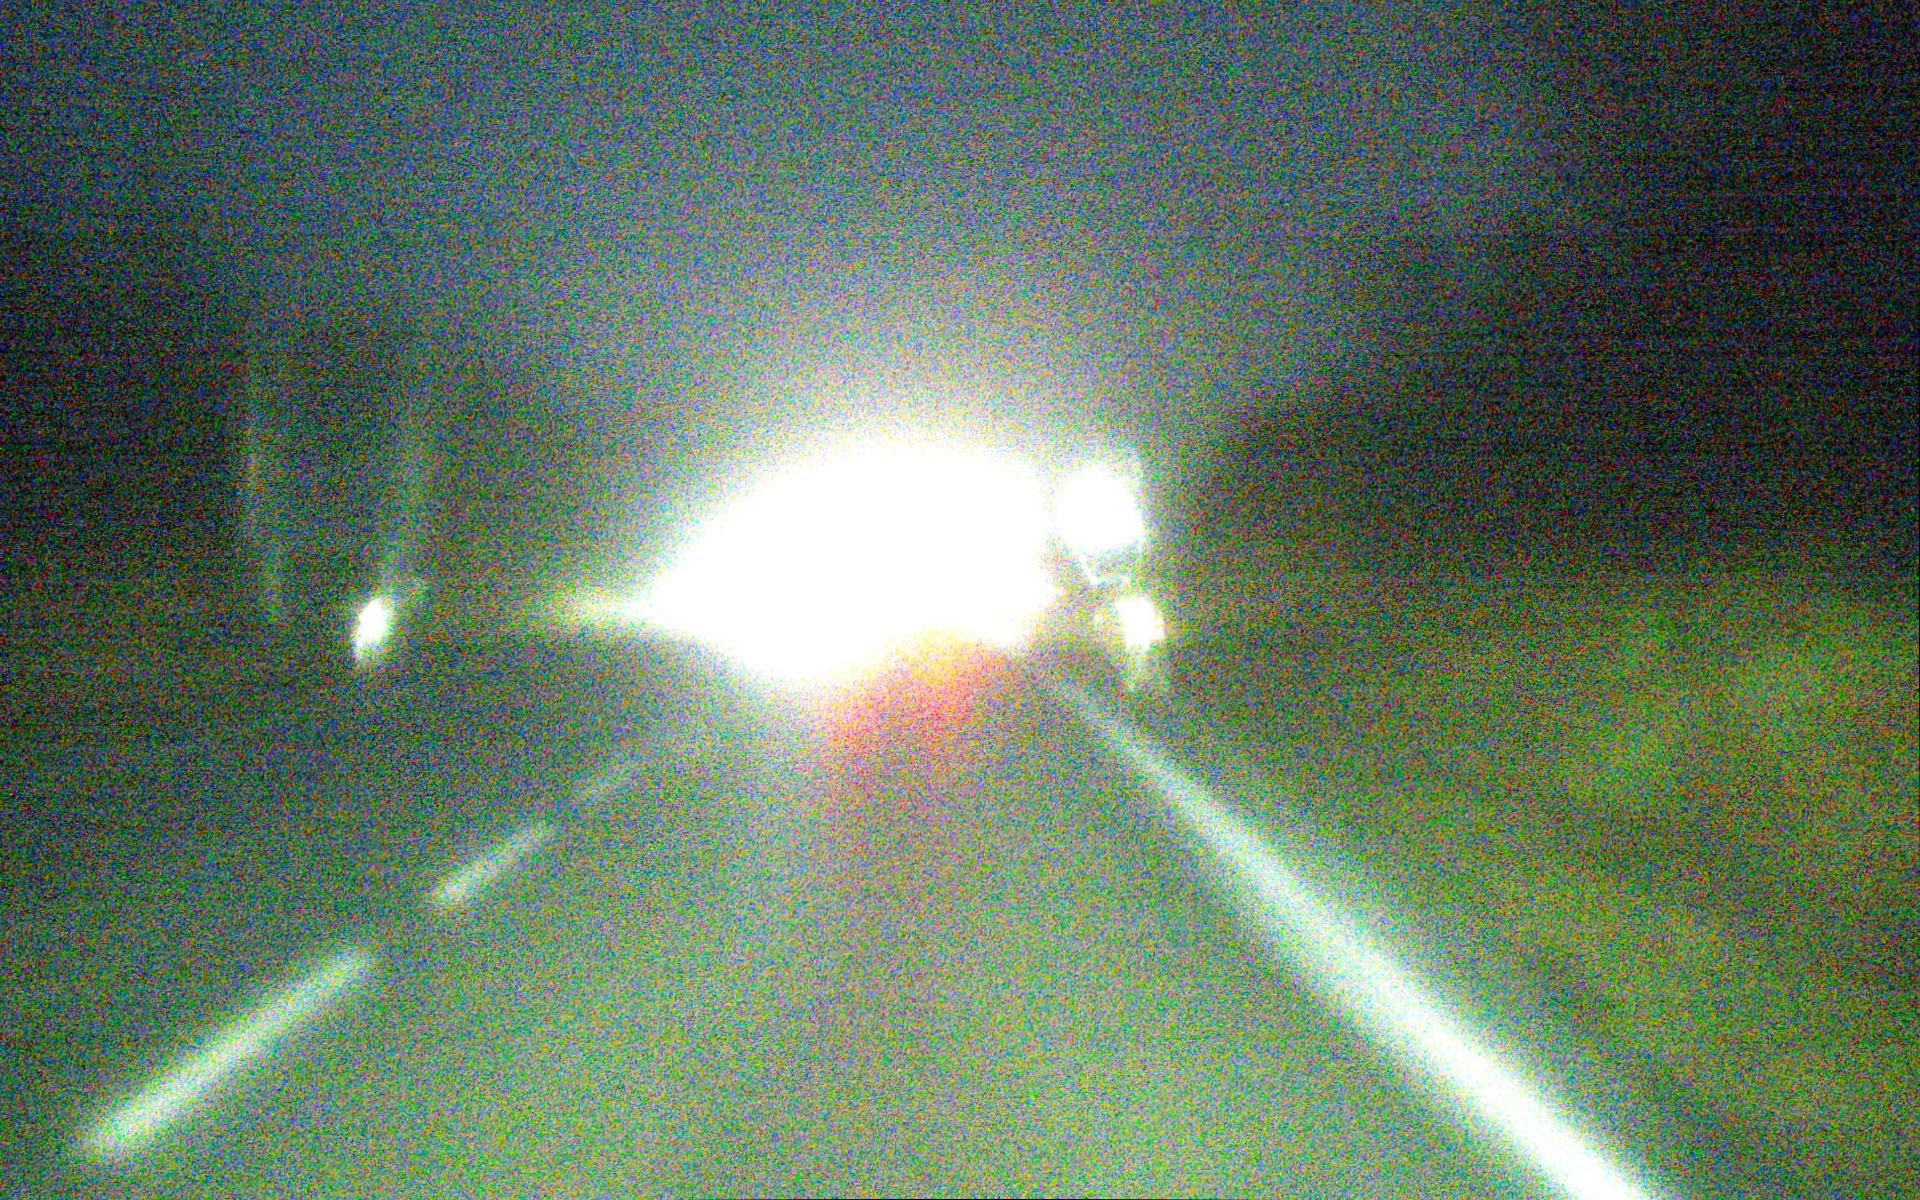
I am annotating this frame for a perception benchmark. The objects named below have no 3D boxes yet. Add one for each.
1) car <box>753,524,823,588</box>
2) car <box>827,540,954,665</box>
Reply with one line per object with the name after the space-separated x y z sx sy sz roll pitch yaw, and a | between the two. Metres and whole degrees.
-5.459 -1.397 109.448 1.993 2.007 4.000 0 1 0 | car
-1.087 -0.003 53.218 1.842 1.734 4.001 1 2 -2 | car
